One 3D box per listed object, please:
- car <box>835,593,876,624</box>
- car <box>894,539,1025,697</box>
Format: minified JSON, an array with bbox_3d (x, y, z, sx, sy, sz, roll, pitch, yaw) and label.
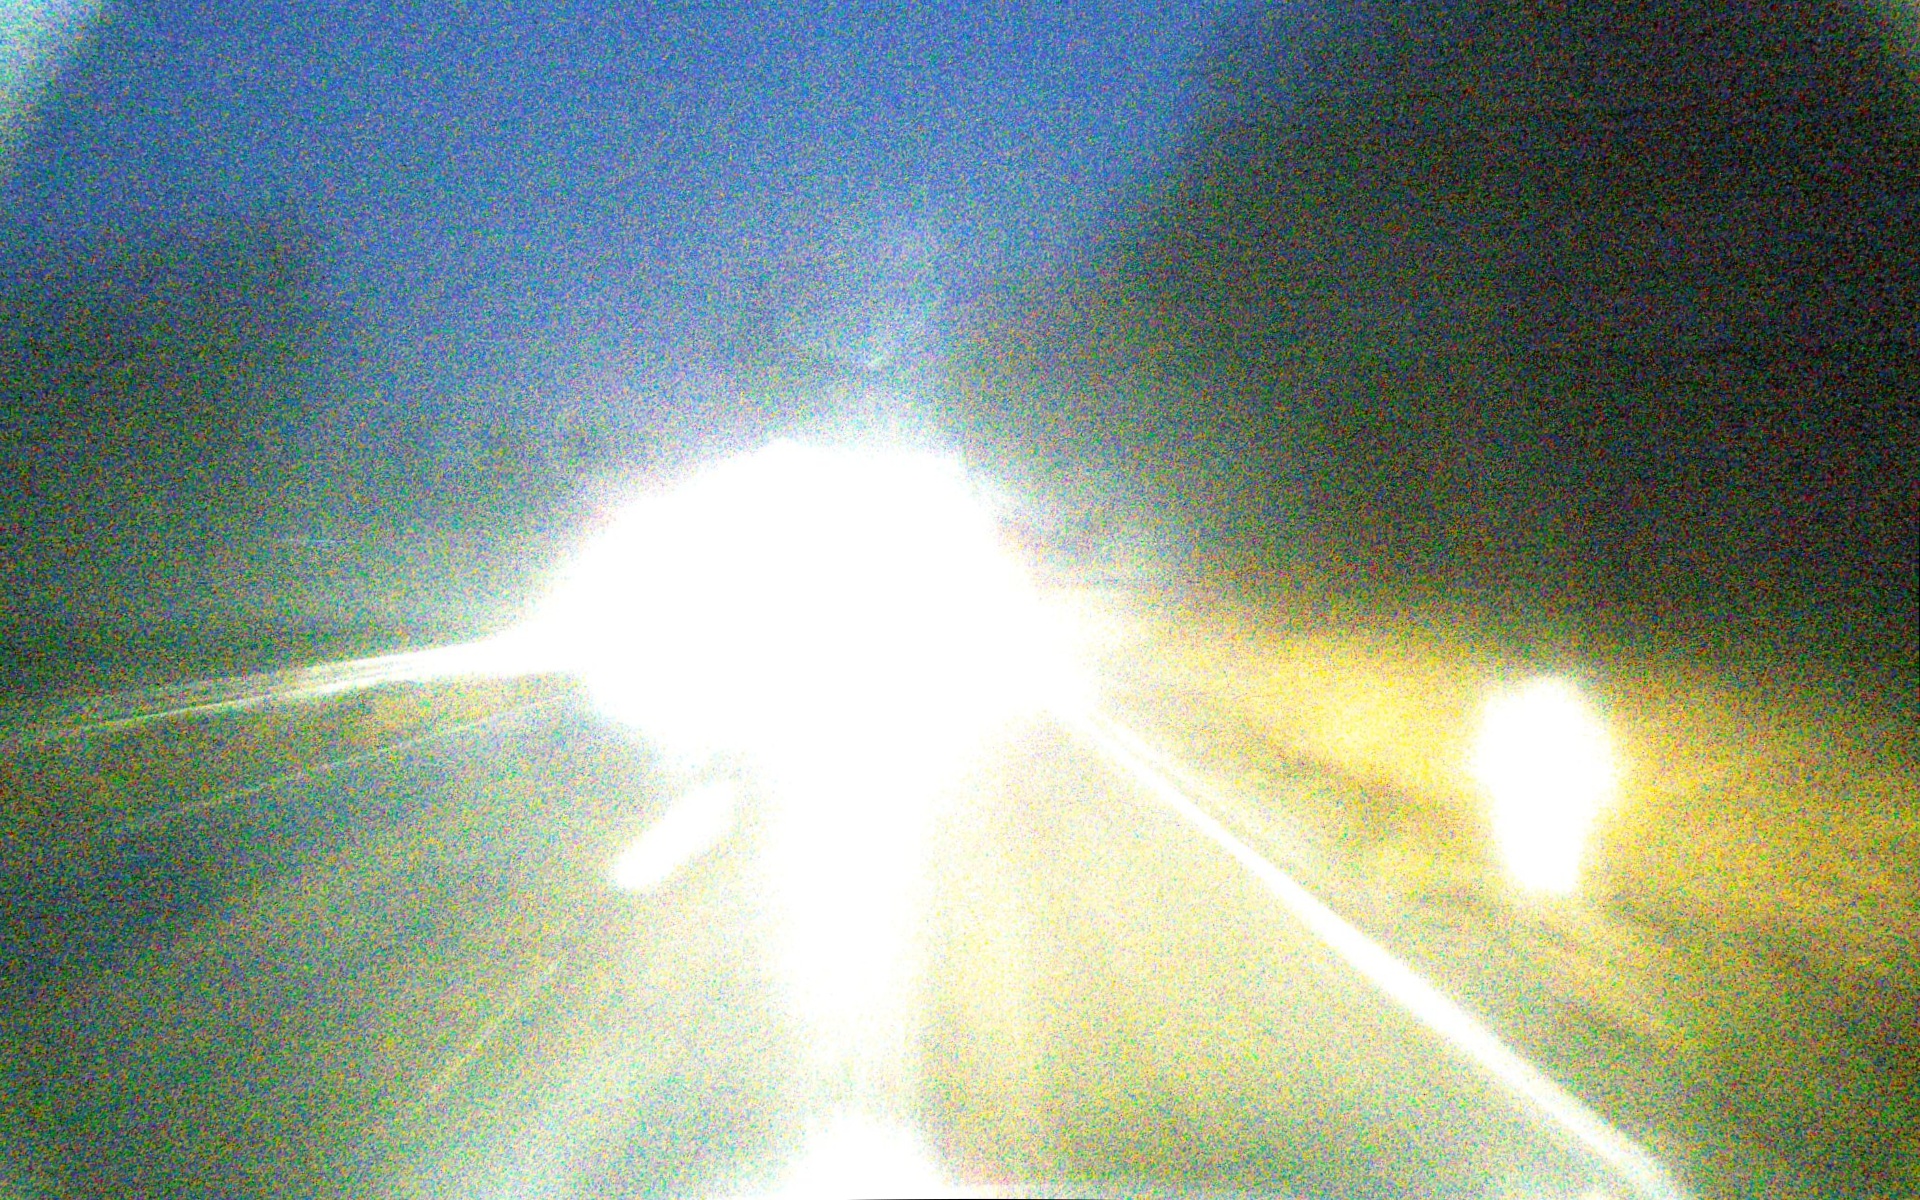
[{"bbox_3d":[-5.265,0.396,83.936,1.935,1.542,4.345,0,0,-2],"label":"car"},{"bbox_3d":[-0.050,0.236,30.453,2.137,2.601,4.507,2,2,-1],"label":"car"}]
